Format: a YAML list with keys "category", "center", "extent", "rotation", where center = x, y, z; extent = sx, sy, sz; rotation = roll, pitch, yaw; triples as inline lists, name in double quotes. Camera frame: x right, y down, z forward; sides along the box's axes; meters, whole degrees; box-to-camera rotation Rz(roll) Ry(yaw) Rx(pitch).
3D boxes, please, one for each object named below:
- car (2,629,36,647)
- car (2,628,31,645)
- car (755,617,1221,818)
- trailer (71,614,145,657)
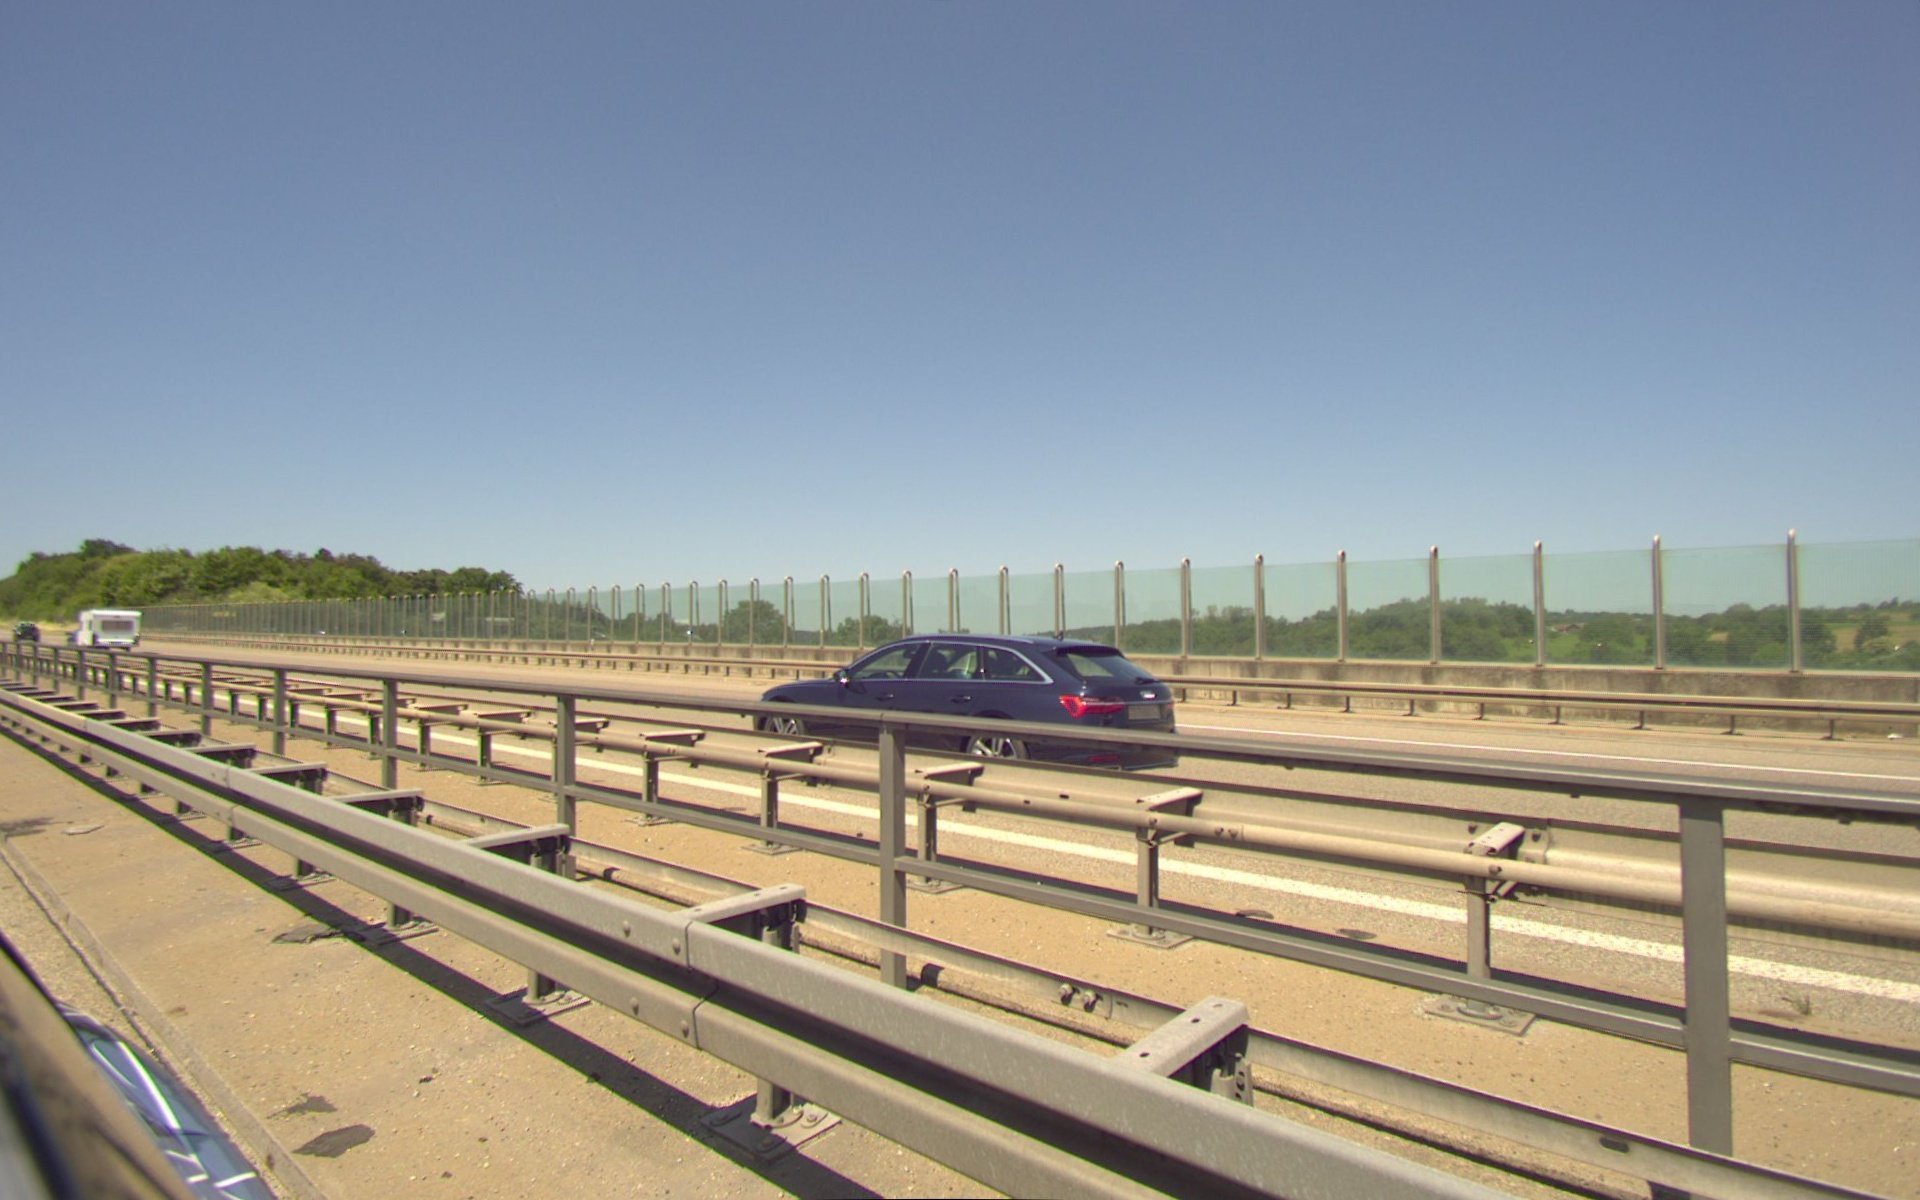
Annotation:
- category: "car"
  center: [-84.088, 3.403, 90.422]
  extent: [4.417, 1.503, 1.712]
  rotation: [-2, -4, 41]
- category: "car"
  center: [-114.425, 4.425, 122.704]
  extent: [5.252, 1.899, 1.973]
  rotation: [-2, -4, 41]
- category: "car"
  center: [0.111, 1.018, 9.986]
  extent: [4.422, 1.543, 1.848]
  rotation: [-2, -5, 41]
- category: "trailer"
  center: [-52.743, 2.215, 62.587]
  extent: [6.771, 2.569, 2.467]
  rotation: [-2, -4, 41]
